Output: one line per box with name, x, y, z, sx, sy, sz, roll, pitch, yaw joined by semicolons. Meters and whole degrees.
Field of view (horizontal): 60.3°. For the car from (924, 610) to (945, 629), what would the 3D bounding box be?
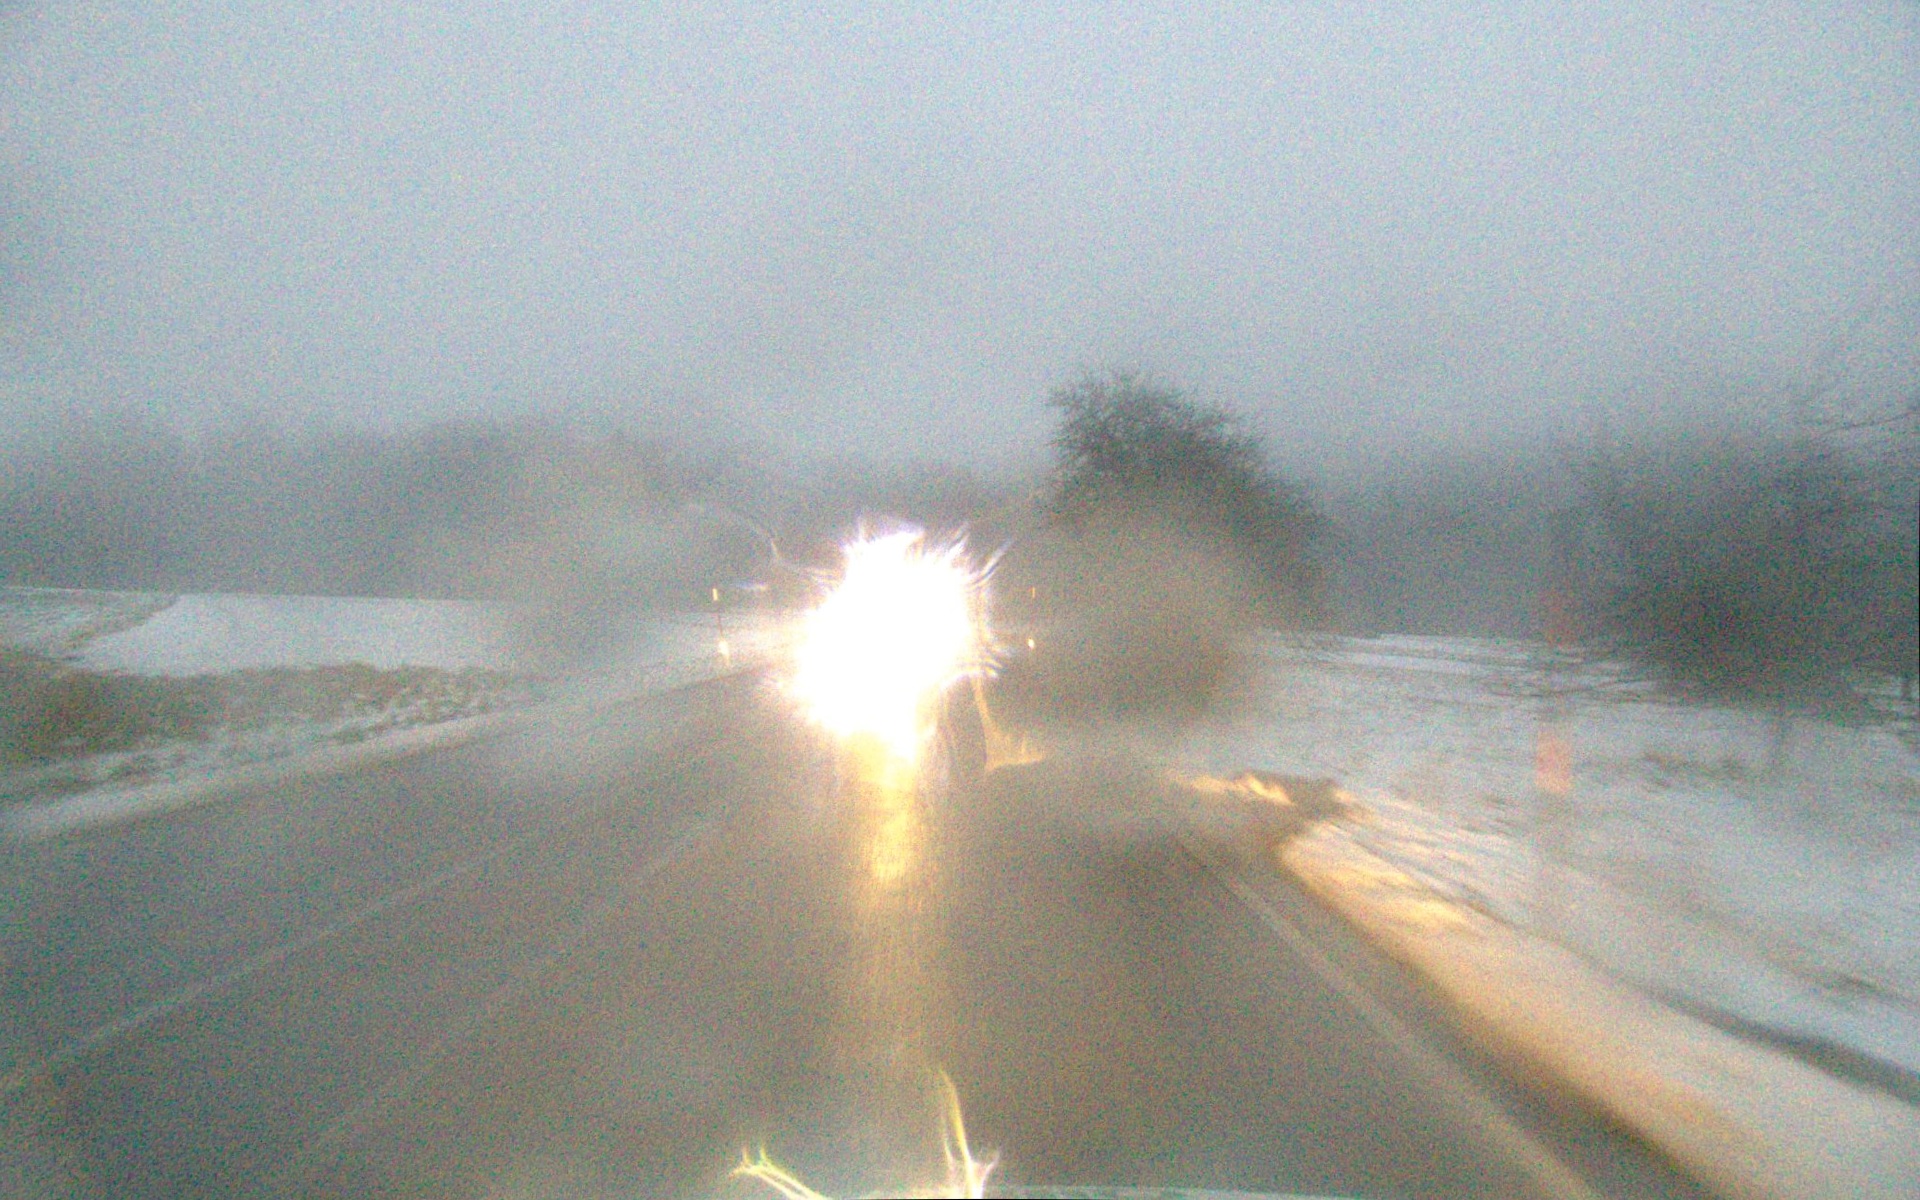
car;-2.366;1.807;153.859;1.657;1.579;3.858;1;1;3
